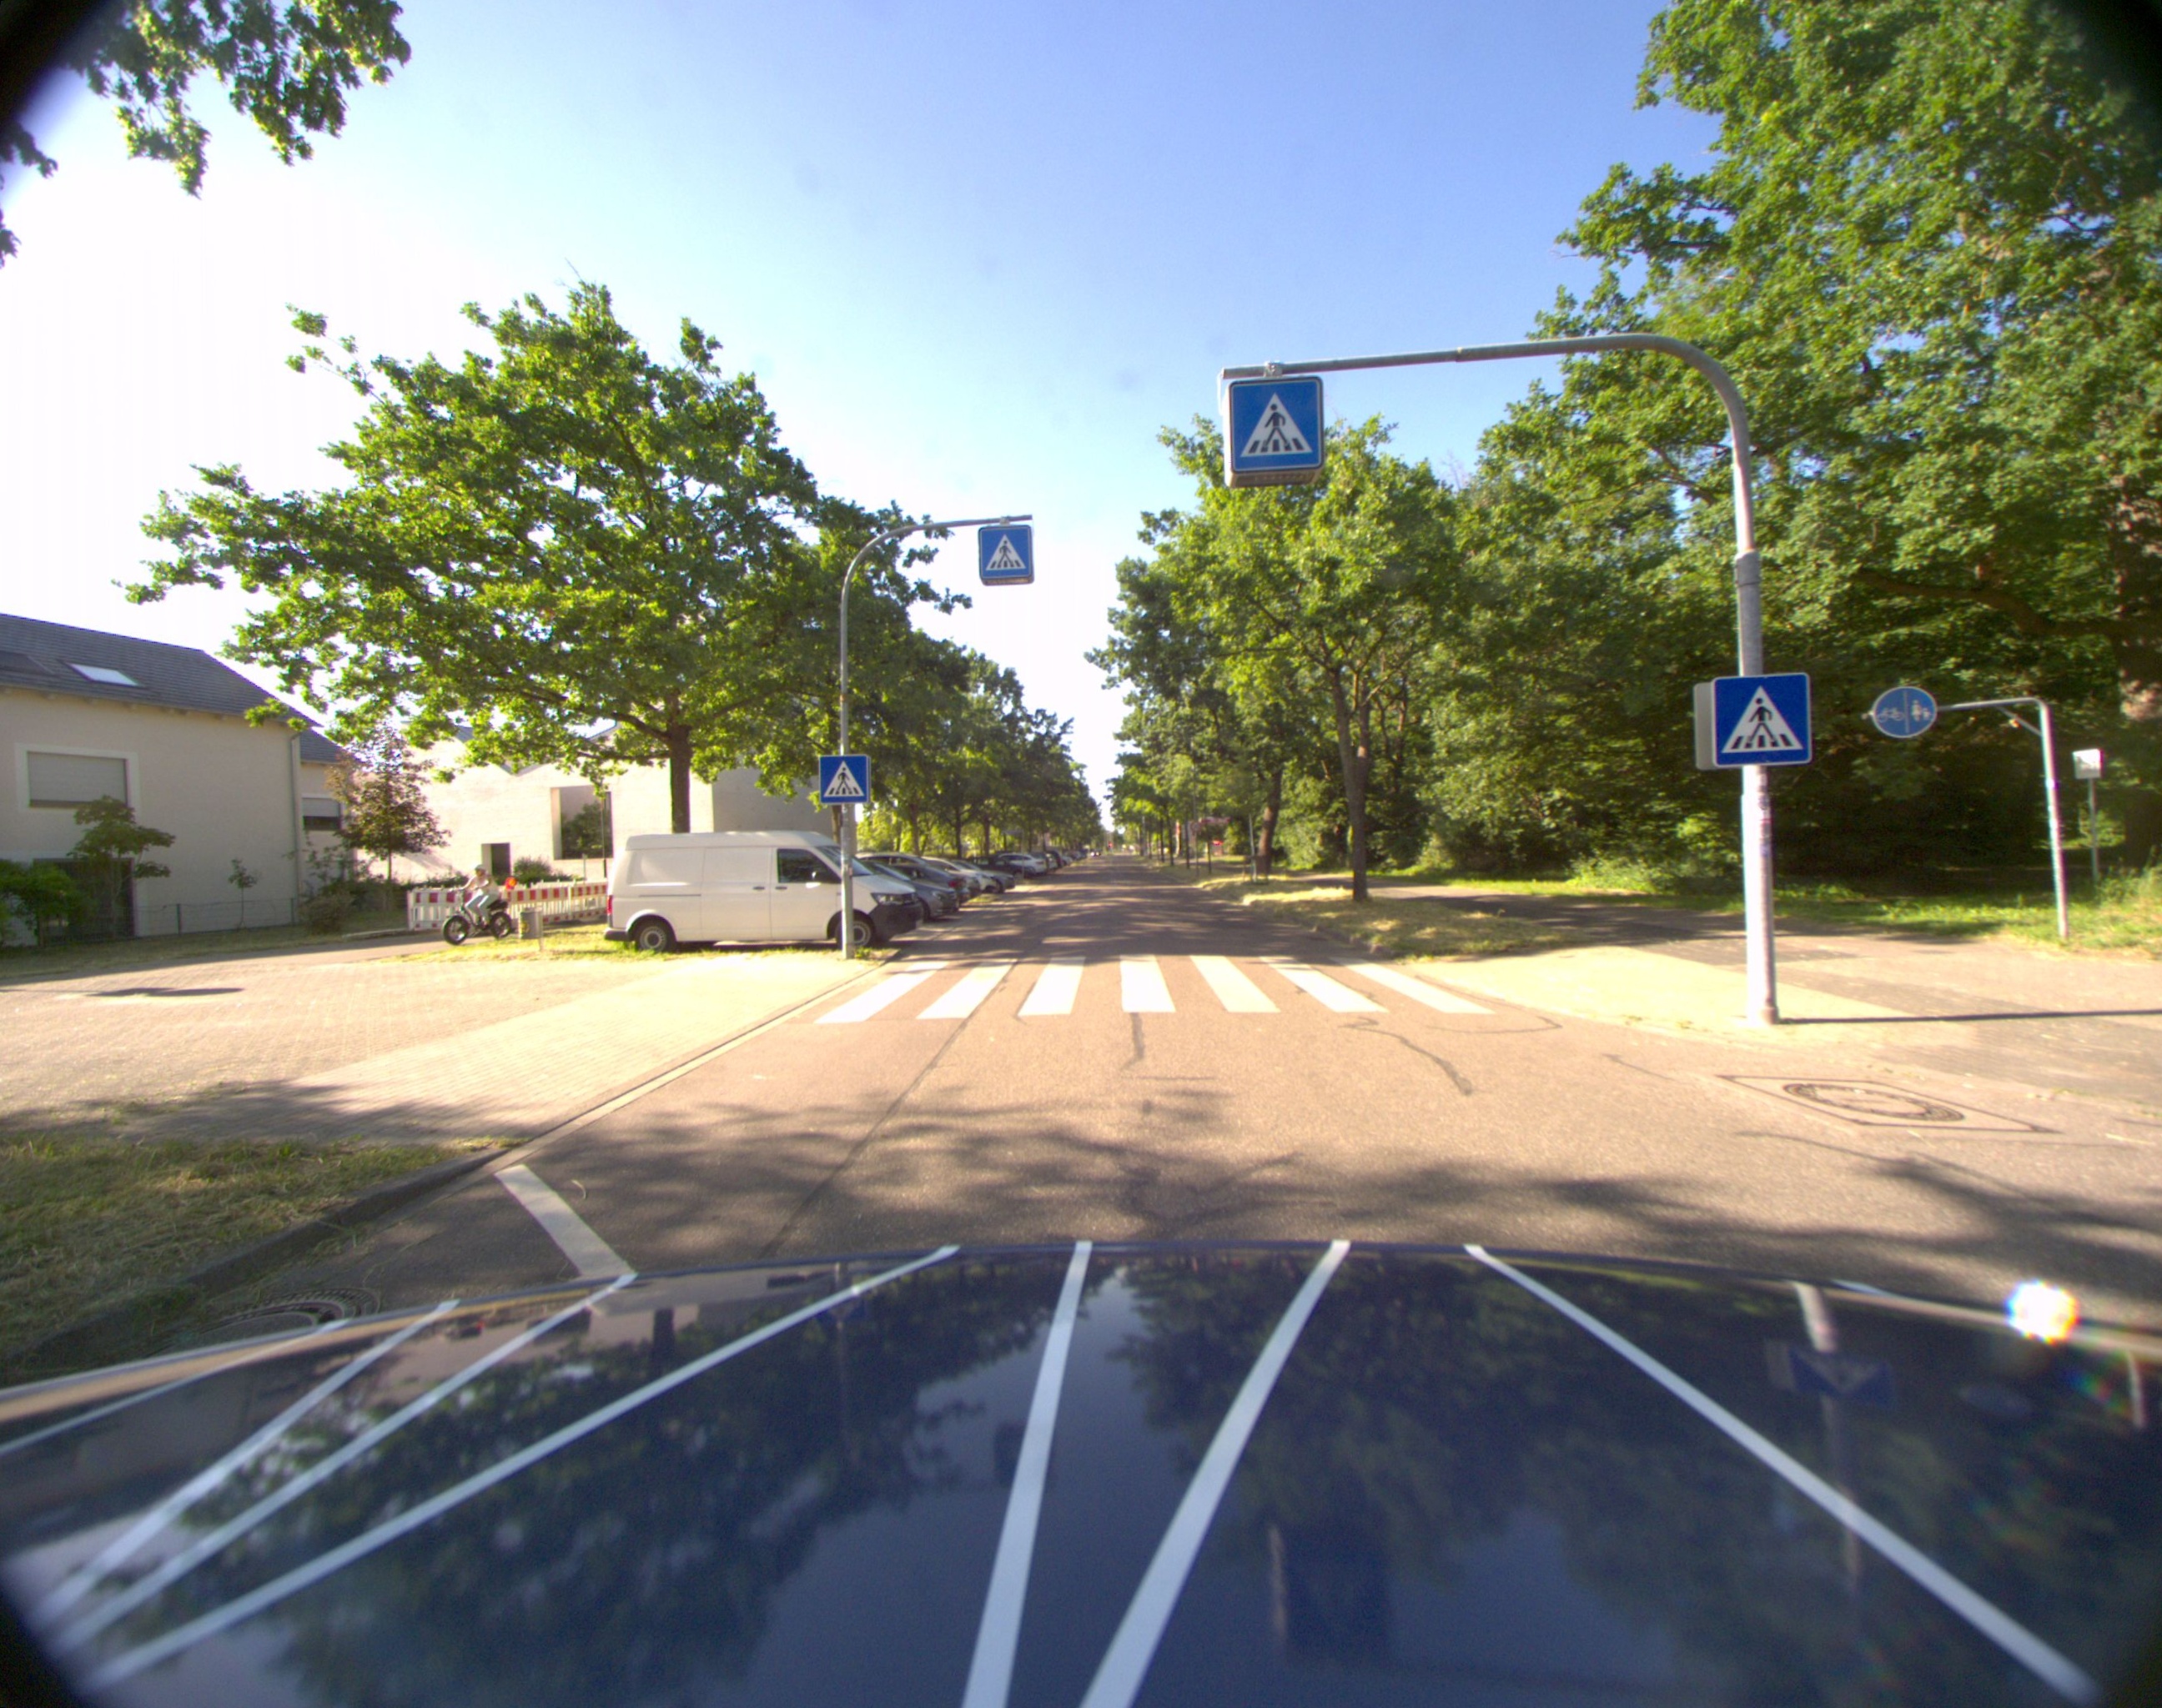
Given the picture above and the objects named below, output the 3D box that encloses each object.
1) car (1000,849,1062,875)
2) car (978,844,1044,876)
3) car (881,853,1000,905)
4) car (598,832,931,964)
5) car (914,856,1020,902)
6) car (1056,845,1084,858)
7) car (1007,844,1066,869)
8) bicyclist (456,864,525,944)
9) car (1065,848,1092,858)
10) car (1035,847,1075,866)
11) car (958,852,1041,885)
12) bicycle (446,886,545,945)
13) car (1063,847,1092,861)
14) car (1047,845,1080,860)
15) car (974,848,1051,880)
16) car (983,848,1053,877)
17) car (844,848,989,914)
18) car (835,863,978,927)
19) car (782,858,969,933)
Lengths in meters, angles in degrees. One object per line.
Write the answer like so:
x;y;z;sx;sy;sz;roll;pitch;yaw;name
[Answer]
-3.765;0.566;57.630;4.394;1.733;1.533;-3;1;4;car
-4.907;0.420;53.818;4.394;1.977;1.533;-3;1;4;car
-5.176;0.916;28.256;4.018;1.669;1.533;-3;1;4;car
-5.405;0.725;13.458;5.045;2.069;1.891;-1;1;2;car
-4.646;1.027;31.237;4.018;1.650;1.533;-3;1;4;car
-1.745;-0.351;117.548;4.151;1.838;1.949;-3;1;3;car
-3.474;0.217;59.987;4.394;1.733;1.533;-3;1;4;car
-13.018;1.090;16.775;0.726;1.656;0.849;-3;2;1;bicyclist
-0.405;-0.124;122.536;4.151;1.401;1.800;-3;1;3;car
-2.708;0.230;80.267;3.996;1.838;1.863;-3;1;3;car
-4.607;0.837;43.334;4.394;1.632;1.533;-3;1;4;car
-12.974;1.333;16.918;0.677;1.144;1.830;-3;0;2;bicycle
-0.483;-0.034;112.449;4.151;1.838;1.949;-3;1;3;car
-2.346;-0.218;101.219;4.151;1.838;1.949;-3;1;3;car
-4.136;0.594;46.367;4.394;1.733;1.533;-3;1;4;car
-4.174;0.554;50.588;4.394;1.733;1.533;-3;1;4;car
-5.055;0.809;23.652;4.018;1.783;1.713;-3;1;4;car
-4.778;1.123;21.094;3.515;1.533;1.448;-3;1;4;car
-4.953;0.981;18.654;3.996;1.554;1.758;-3;1;4;car
